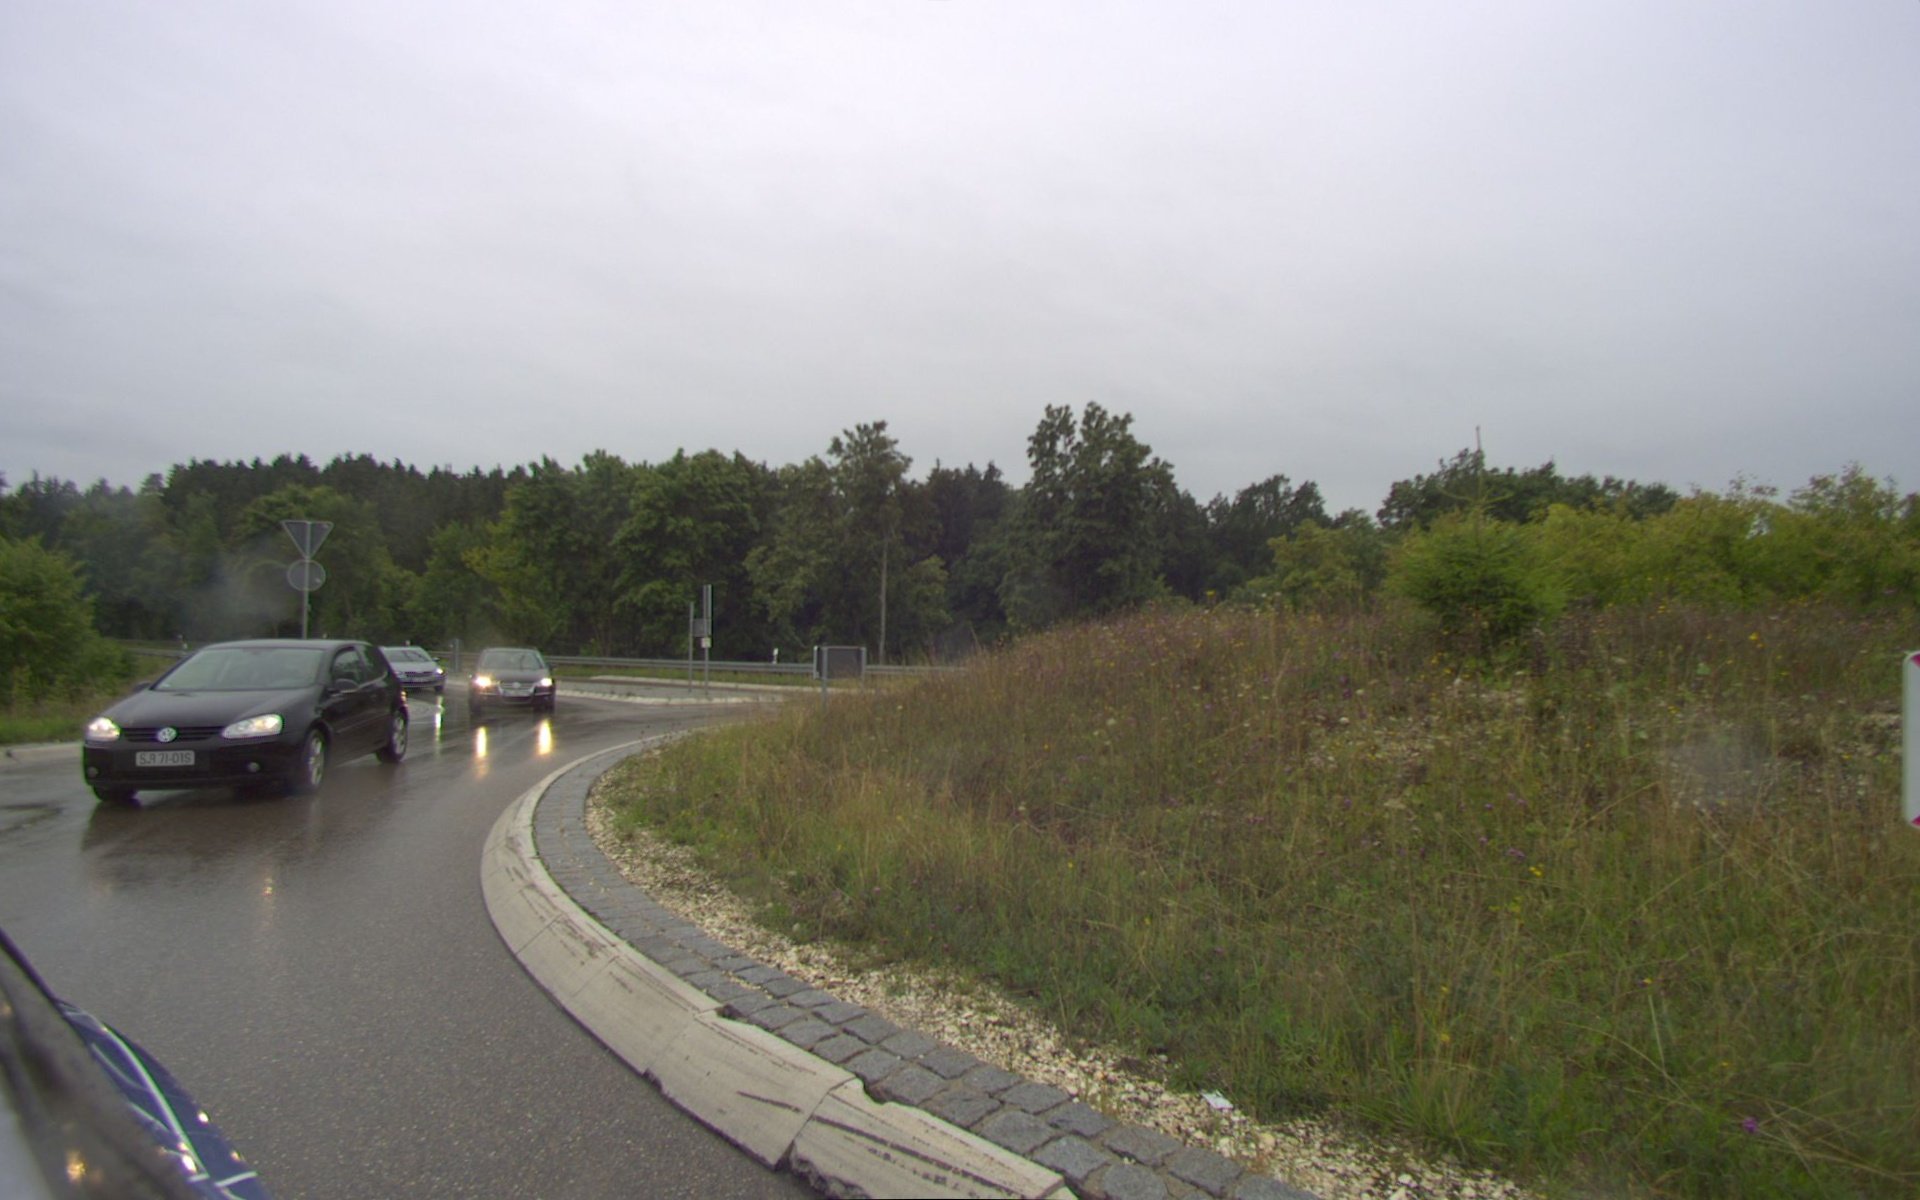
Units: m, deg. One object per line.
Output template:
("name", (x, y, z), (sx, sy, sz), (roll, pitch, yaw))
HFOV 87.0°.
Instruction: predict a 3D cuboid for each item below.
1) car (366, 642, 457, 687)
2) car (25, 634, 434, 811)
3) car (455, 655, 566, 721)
("car", (-18.590, 2.193, 34.206), (1.736, 1.432, 4.510), (4, -5, -40))
("car", (-7.159, 1.122, 10.595), (1.843, 1.432, 4.515), (1, -3, -13))
("car", (-10.556, 2.010, 23.600), (1.916, 1.382, 4.517), (3, -5, -29))
